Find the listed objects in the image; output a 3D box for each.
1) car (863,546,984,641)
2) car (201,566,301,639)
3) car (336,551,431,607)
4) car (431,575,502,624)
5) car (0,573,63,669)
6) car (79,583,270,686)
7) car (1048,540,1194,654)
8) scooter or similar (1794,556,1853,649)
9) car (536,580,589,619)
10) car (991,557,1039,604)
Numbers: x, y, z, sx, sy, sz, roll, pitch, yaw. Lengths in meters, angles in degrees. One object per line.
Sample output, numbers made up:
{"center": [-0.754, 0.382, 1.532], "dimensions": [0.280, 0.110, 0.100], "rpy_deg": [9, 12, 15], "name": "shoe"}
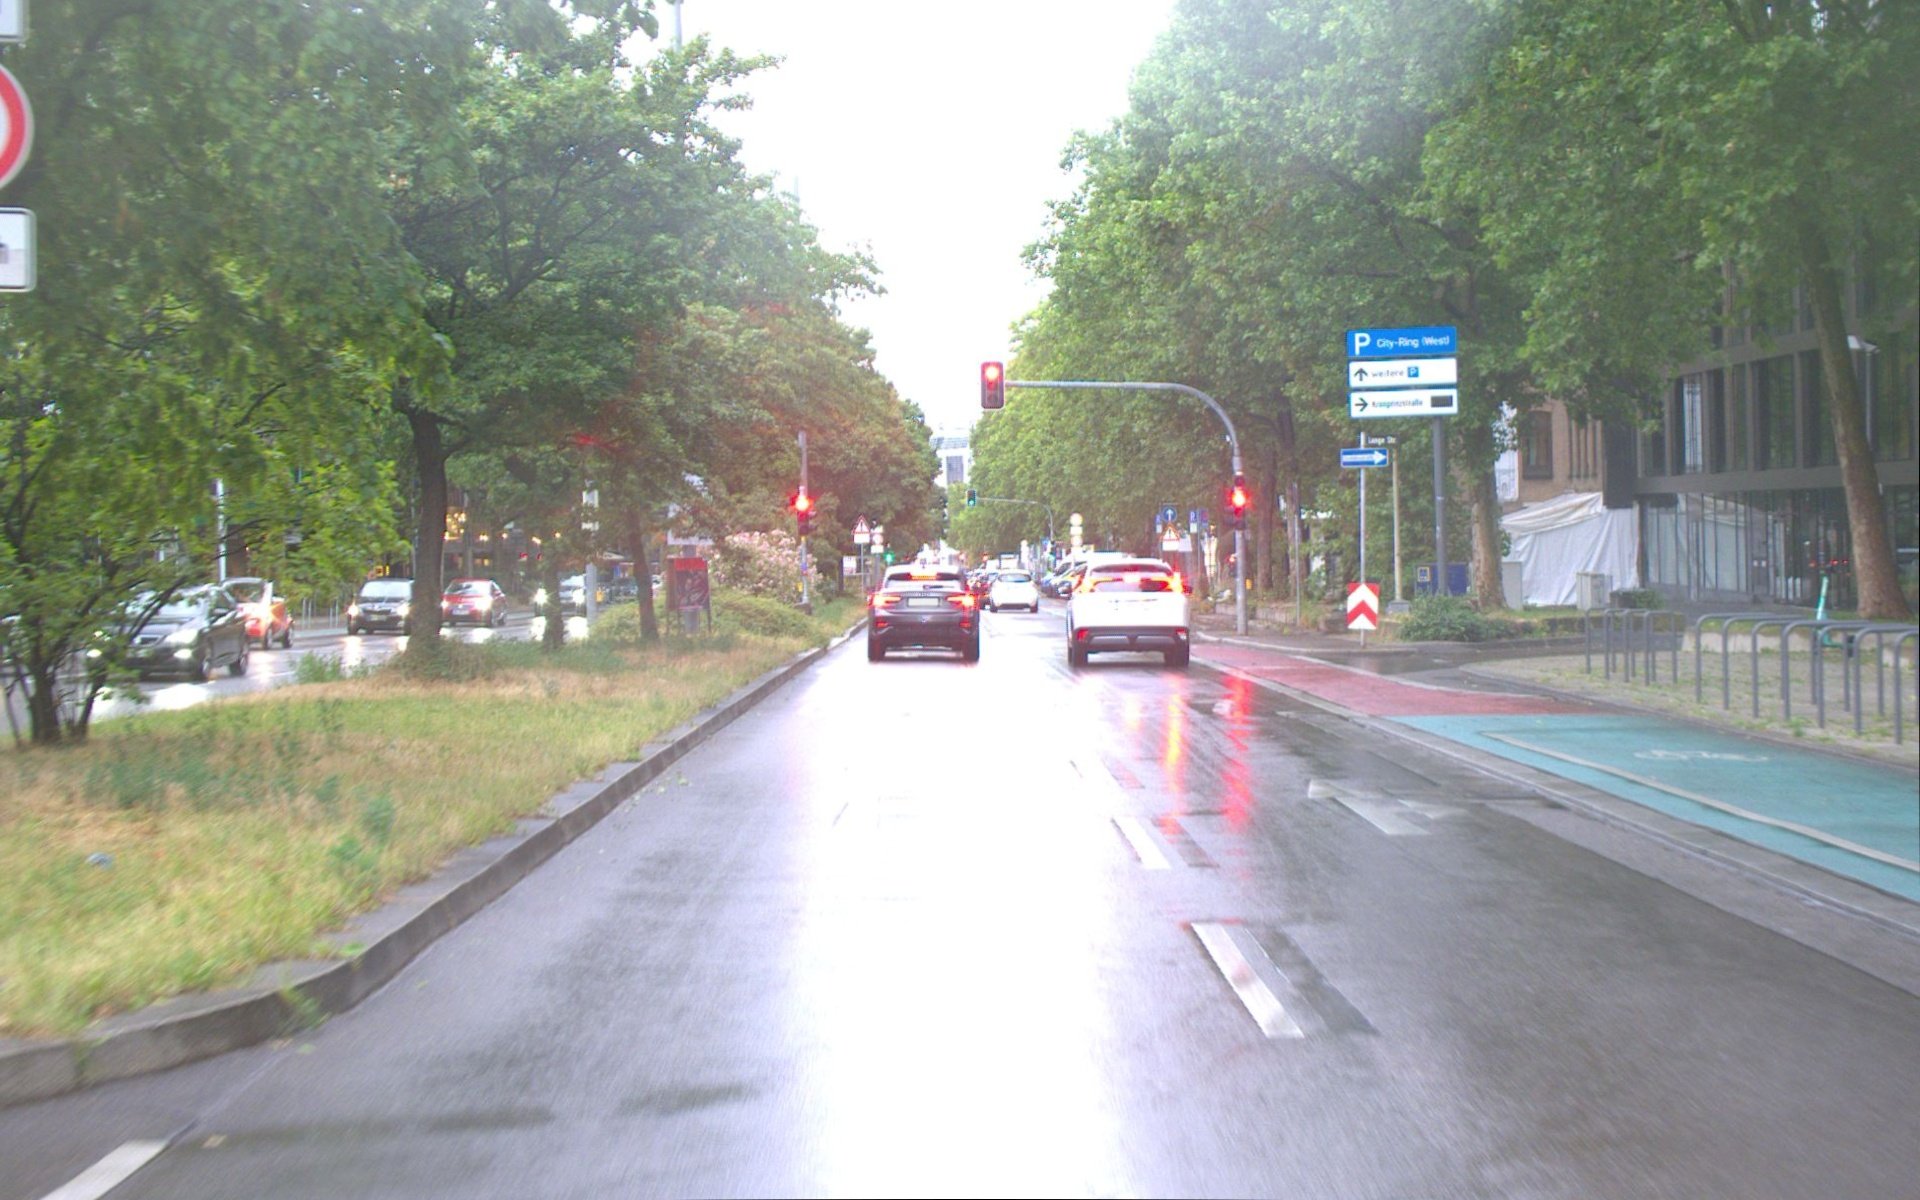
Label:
{"center": [-0.614, -0.135, 57.358], "dimensions": [1.918, 1.486, 4.000], "rpy_deg": [-1, 1, -1], "name": "car"}
{"center": [-14.968, 0.041, 72.687], "dimensions": [1.494, 1.458, 2.731], "rpy_deg": [-1, 1, 1], "name": "car"}
{"center": [-15.004, -0.561, 89.659], "dimensions": [1.843, 1.385, 4.000], "rpy_deg": [-1, 1, -1], "name": "car"}
{"center": [-15.049, -0.022, 104.931], "dimensions": [1.614, 1.389, 4.184], "rpy_deg": [-1, 1, -1], "name": "car"}
{"center": [-15.408, 0.314, 53.715], "dimensions": [1.843, 1.424, 3.643], "rpy_deg": [-1, 1, -1], "name": "car"}
{"center": [-11.834, 0.498, 52.027], "dimensions": [1.749, 1.471, 4.095], "rpy_deg": [1, 0, 3], "name": "car"}
{"center": [2.474, -0.087, 53.960], "dimensions": [1.993, 1.649, 4.889], "rpy_deg": [-1, 1, -1], "name": "car"}
{"center": [11.521, 0.028, 45.873], "dimensions": [0.381, 1.224, 1.077], "rpy_deg": [0, 1, 36], "name": "scooter or similar"}
{"center": [-14.699, -0.035, 127.266], "dimensions": [1.614, 1.389, 3.597], "rpy_deg": [0, 0, -1], "name": "car"}
{"center": [2.022, -0.734, 126.916], "dimensions": [1.620, 1.660, 4.000], "rpy_deg": [-1, 1, -1], "name": "car"}
